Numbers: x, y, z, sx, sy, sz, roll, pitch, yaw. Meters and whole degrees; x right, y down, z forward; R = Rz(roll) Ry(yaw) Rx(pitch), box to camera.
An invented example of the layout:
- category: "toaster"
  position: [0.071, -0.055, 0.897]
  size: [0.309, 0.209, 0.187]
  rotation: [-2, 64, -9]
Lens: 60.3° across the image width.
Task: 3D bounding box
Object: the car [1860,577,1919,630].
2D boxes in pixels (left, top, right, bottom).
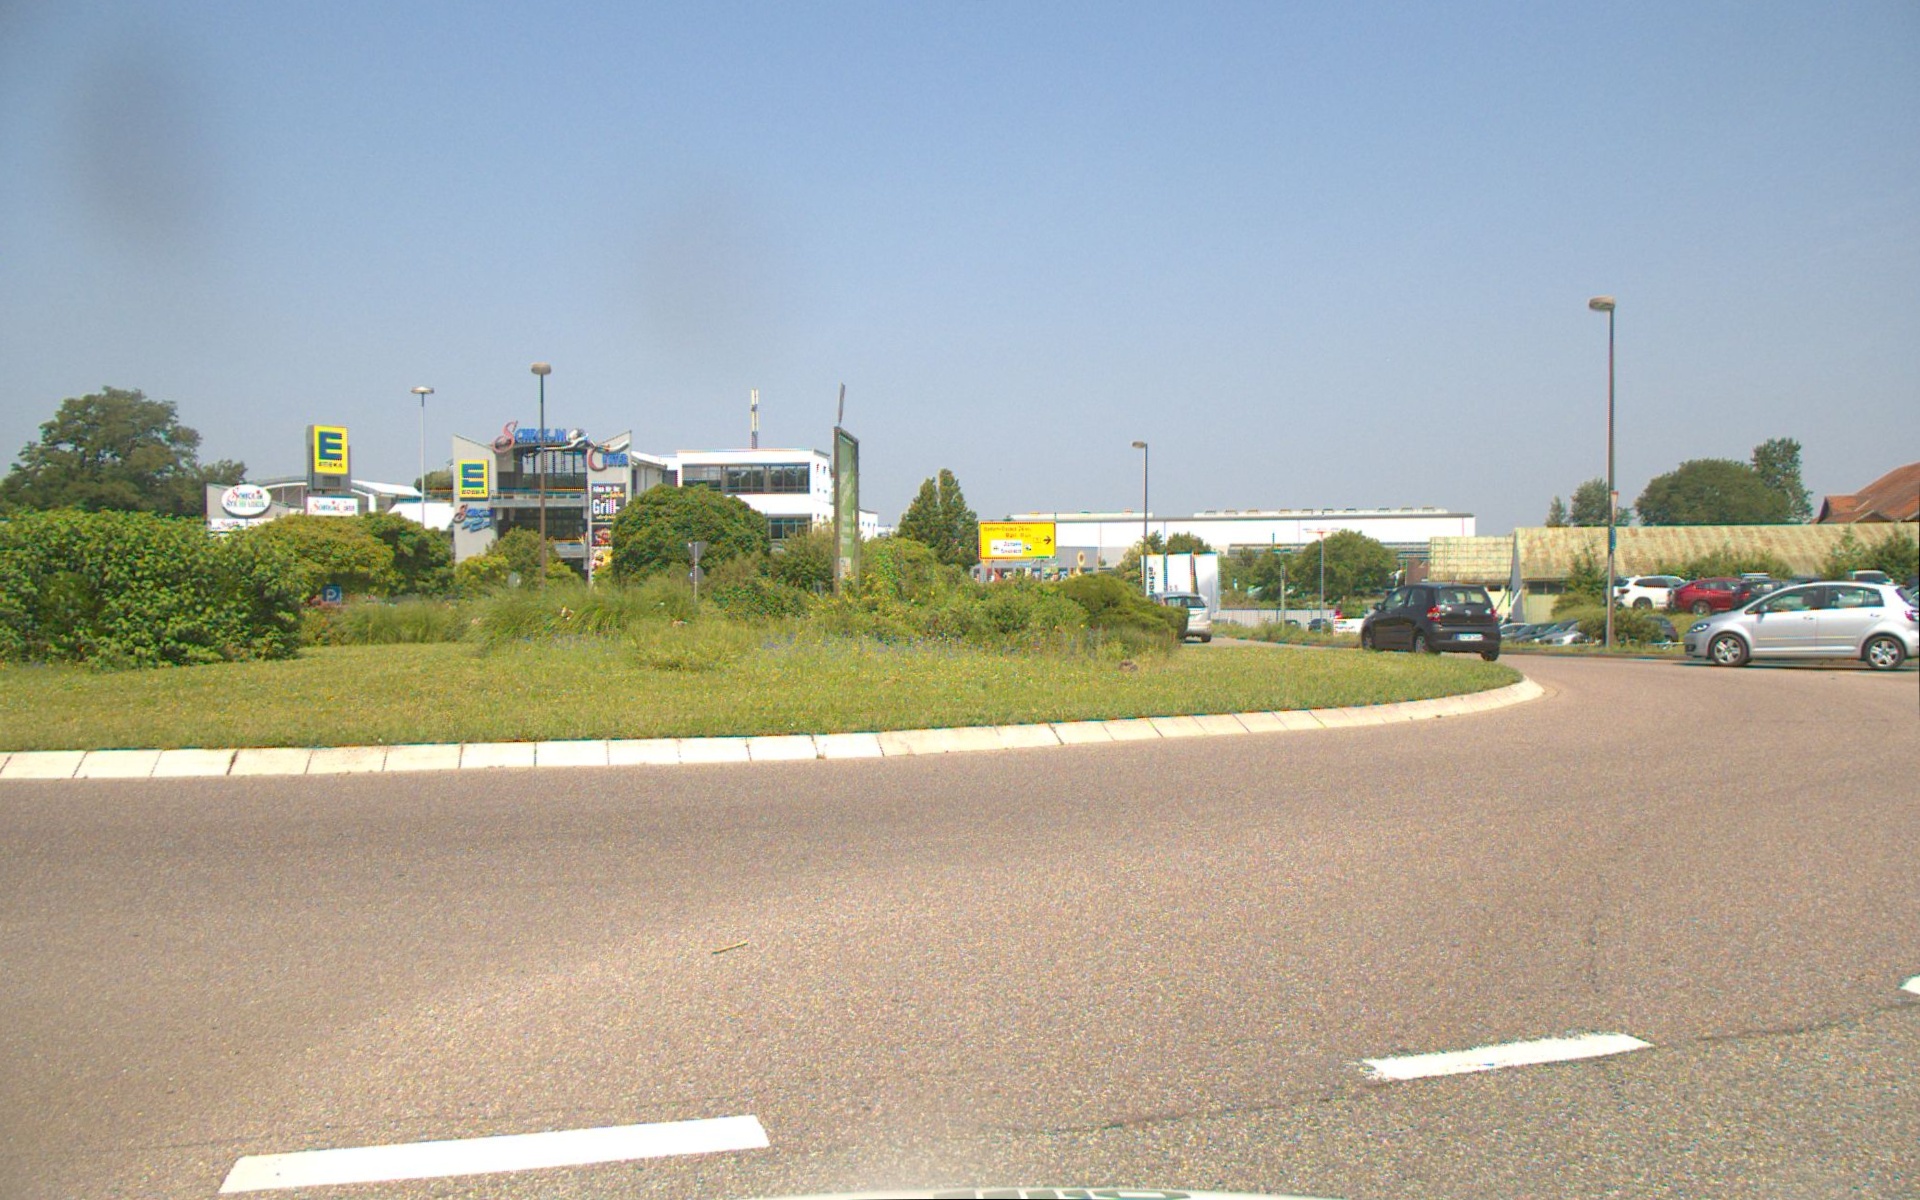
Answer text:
- category: "car"
  position: [30.689, 0.083, 51.888]
  size: [4.495, 1.598, 1.758]
  rotation: [-1, -1, -20]

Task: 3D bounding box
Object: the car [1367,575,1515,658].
- category: "car"
  position: [9.645, 0.331, 33.455]
  size: [1.743, 1.557, 3.998]
  rotation: [1, -1, -2]

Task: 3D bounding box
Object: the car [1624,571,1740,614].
- category: "car"
  position: [31.407, -0.328, 72.059]
  size: [4.358, 1.777, 1.840]
  rotation: [-1, 0, 14]

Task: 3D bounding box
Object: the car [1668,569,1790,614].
- category: "car"
  position: [32.178, -0.337, 69.329]
  size: [4.358, 1.777, 1.951]
  rotation: [-1, 0, 14]

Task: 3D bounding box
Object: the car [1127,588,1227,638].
- category: "car"
  position: [6.474, 0.388, 49.830]
  size: [1.747, 1.431, 4.074]
  rotation: [1, -1, -12]

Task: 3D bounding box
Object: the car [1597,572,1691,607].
- category: "car"
  position: [31.752, -0.484, 76.872]
  size: [3.792, 1.559, 1.770]
  rotation: [-1, 0, 14]

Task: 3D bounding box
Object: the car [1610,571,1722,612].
- category: "car"
  position: [31.703, -0.370, 74.368]
  size: [4.358, 1.777, 1.840]
  rotation: [-1, 0, 14]

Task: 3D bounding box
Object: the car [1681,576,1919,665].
- category: "car"
  position: [15.695, 0.358, 30.803]
  size: [3.996, 1.557, 1.781]
  rotation: [1, -1, 30]

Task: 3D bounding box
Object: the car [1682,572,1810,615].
- category: "car"
  position: [31.683, -0.262, 66.808]
  size: [4.358, 1.663, 1.951]
  rotation: [-1, 0, 14]

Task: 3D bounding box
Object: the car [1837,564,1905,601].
- category: "car"
  position: [42.348, -0.805, 76.963]
  size: [1.876, 1.624, 4.307]
  rotation: [-1, 0, 16]

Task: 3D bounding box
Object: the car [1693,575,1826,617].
- category: "car"
  position: [31.244, -0.156, 64.770]
  size: [4.358, 1.526, 1.951]
  rotation: [-1, 0, 14]

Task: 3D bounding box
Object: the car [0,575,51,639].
- category: "car"
  position: [-31.599, 0.226, 53.651]
  size: [1.652, 2.049, 4.003]
  rotation: [1, -1, 7]

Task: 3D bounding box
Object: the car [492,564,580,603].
- category: "car"
  position: [-17.947, -0.677, 70.067]
  size: [3.242, 1.601, 1.557]
  rotation: [0, -1, 15]
